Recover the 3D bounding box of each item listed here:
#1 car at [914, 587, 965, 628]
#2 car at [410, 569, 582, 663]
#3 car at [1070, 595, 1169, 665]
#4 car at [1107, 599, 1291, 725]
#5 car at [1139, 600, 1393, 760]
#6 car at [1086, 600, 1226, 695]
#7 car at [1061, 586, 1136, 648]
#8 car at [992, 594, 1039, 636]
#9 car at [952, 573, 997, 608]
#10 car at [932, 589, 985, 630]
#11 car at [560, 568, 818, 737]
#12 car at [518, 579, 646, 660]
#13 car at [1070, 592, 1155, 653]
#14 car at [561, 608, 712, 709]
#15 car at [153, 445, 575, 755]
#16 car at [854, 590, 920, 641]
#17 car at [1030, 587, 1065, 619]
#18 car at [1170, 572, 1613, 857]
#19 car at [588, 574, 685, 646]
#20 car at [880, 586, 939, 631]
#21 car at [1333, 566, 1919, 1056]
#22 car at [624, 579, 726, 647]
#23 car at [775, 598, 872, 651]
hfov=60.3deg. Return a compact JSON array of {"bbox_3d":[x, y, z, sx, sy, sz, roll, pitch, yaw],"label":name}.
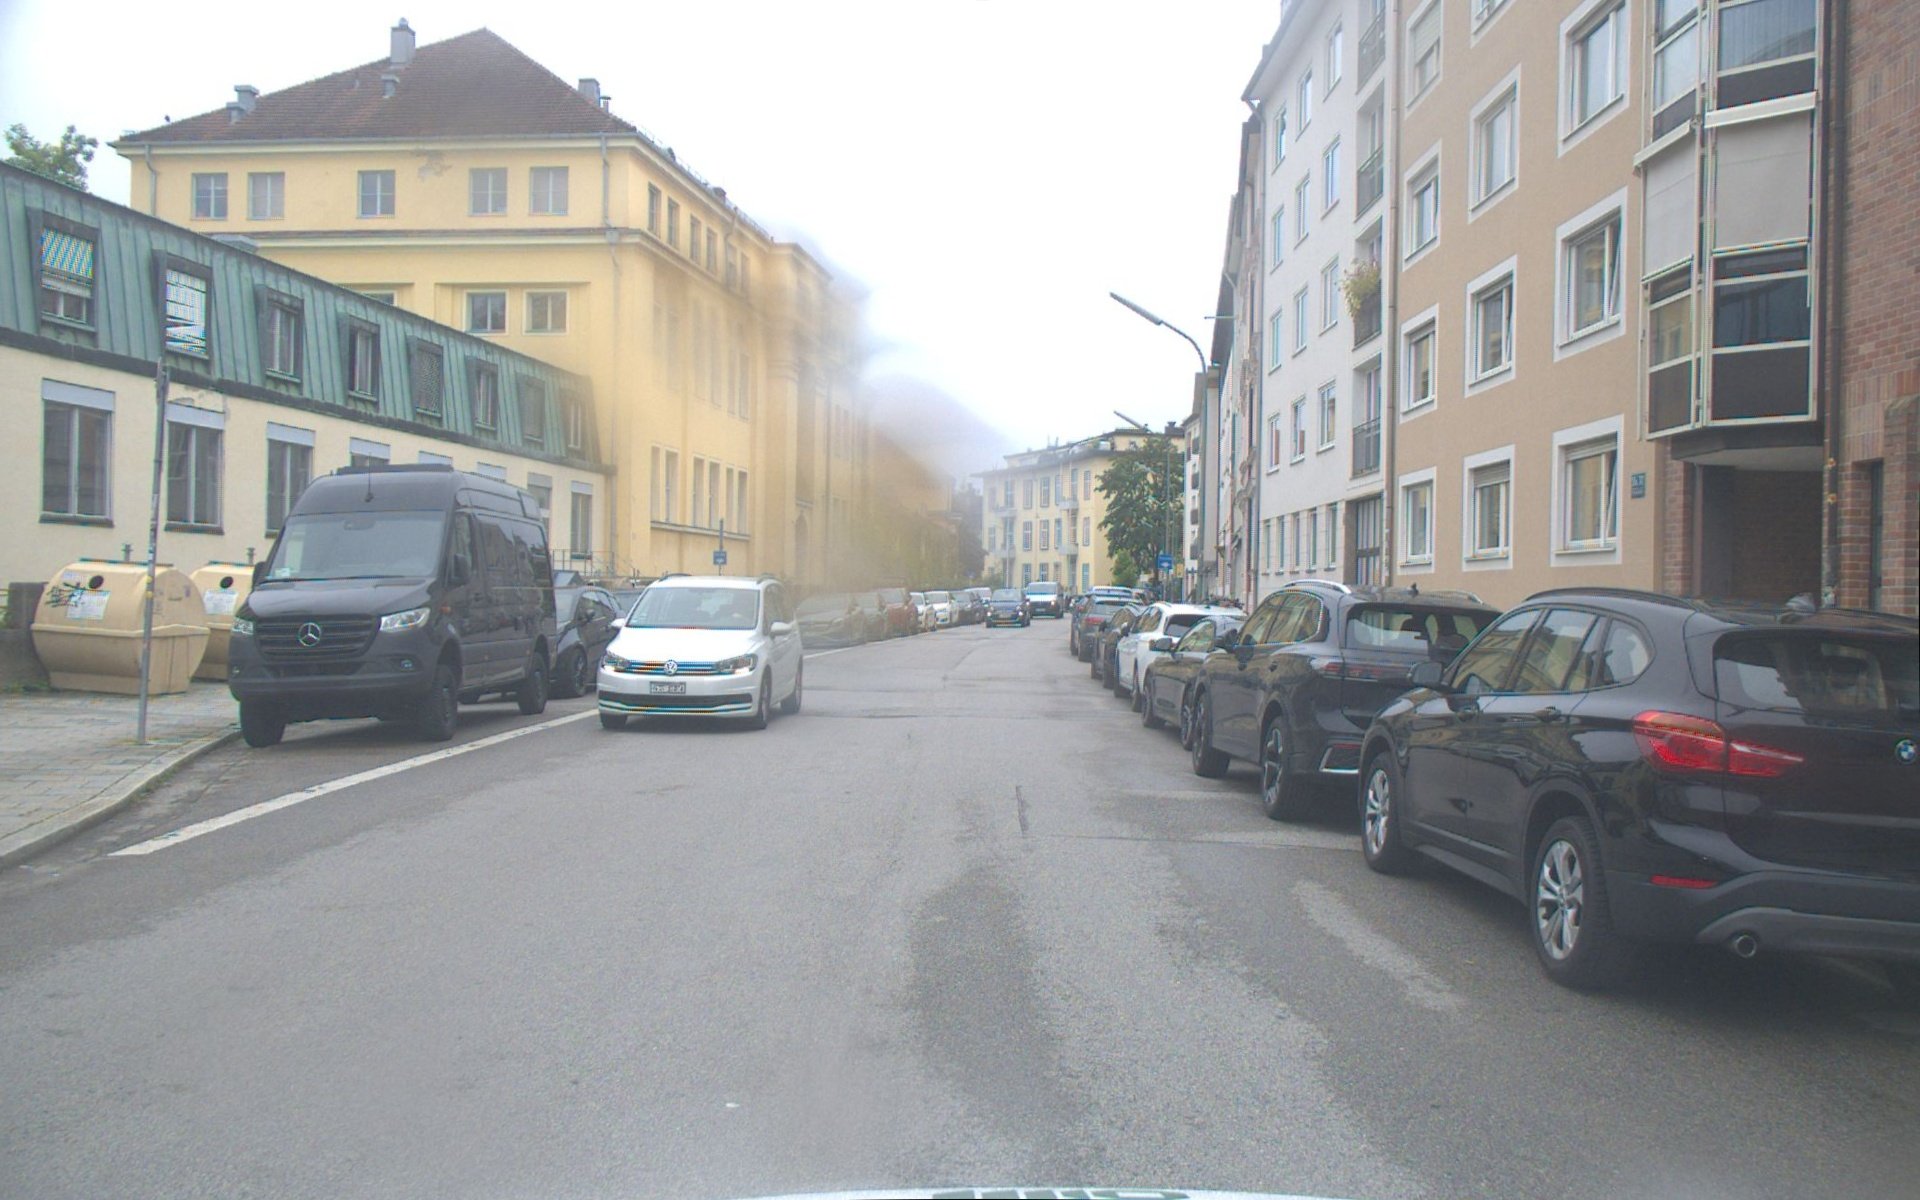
[{"bbox_3d":[-0.810,0.278,66.958,1.662,1.469,3.511,3,1,5],"label":"car"},{"bbox_3d":[-9.500,0.271,34.171,1.951,1.716,4.004,3,1,7],"label":"car"},{"bbox_3d":[3.592,0.638,37.923,1.848,1.434,4.431,2,0,1],"label":"car"},{"bbox_3d":[3.266,0.797,23.552,1.849,1.501,4.743,2,0,-1],"label":"car"},{"bbox_3d":[3.171,0.771,18.014,1.849,1.345,4.274,2,2,-1],"label":"car"},{"bbox_3d":[3.358,0.769,29.116,1.849,1.434,4.430,2,0,-1],"label":"car"},{"bbox_3d":[4.035,0.467,48.660,1.848,1.658,4.431,2,0,1],"label":"car"},{"bbox_3d":[2.243,0.580,66.163,1.662,1.469,3.511,3,1,5],"label":"car"},{"bbox_3d":[0.752,-0.512,82.188,1.952,1.575,4.003,3,1,4],"label":"car"},{"bbox_3d":[-0.034,0.391,72.711,1.952,1.575,4.003,3,1,4],"label":"car"},{"bbox_3d":[-2.902,0.569,18.759,1.983,1.650,4.506,-1,-1,2],"label":"car"},{"bbox_3d":[-8.803,0.409,38.785,1.683,1.689,3.751,3,1,7],"label":"car"},{"bbox_3d":[3.932,0.538,43.251,1.848,1.434,4.431,2,0,1],"label":"car"},{"bbox_3d":[-5.616,0.978,29.159,1.663,1.478,3.743,3,1,3],"label":"car"},{"bbox_3d":[-6.021,0.012,17.759,2.372,2.762,5.952,0,0,0],"label":"car"},{"bbox_3d":[-2.336,0.488,53.977,1.662,1.469,3.511,3,1,5],"label":"car"},{"bbox_3d":[4.503,0.144,84.936,1.662,1.469,3.511,3,1,5],"label":"car"},{"bbox_3d":[2.959,0.669,12.515,1.925,1.629,4.670,2,1,-2],"label":"car"},{"bbox_3d":[-8.277,0.230,42.467,1.571,1.689,2.811,3,1,7],"label":"car"},{"bbox_3d":[-1.786,0.283,59.822,1.662,1.469,3.511,3,1,5],"label":"car"},{"bbox_3d":[3.248,0.709,7.858,1.793,1.629,4.265,2,1,-2],"label":"car"},{"bbox_3d":[-7.870,0.324,45.977,1.683,1.689,3.751,3,1,7],"label":"car"},{"bbox_3d":[-3.595,0.618,44.345,1.859,1.167,4.233,3,2,5],"label":"car"}]
